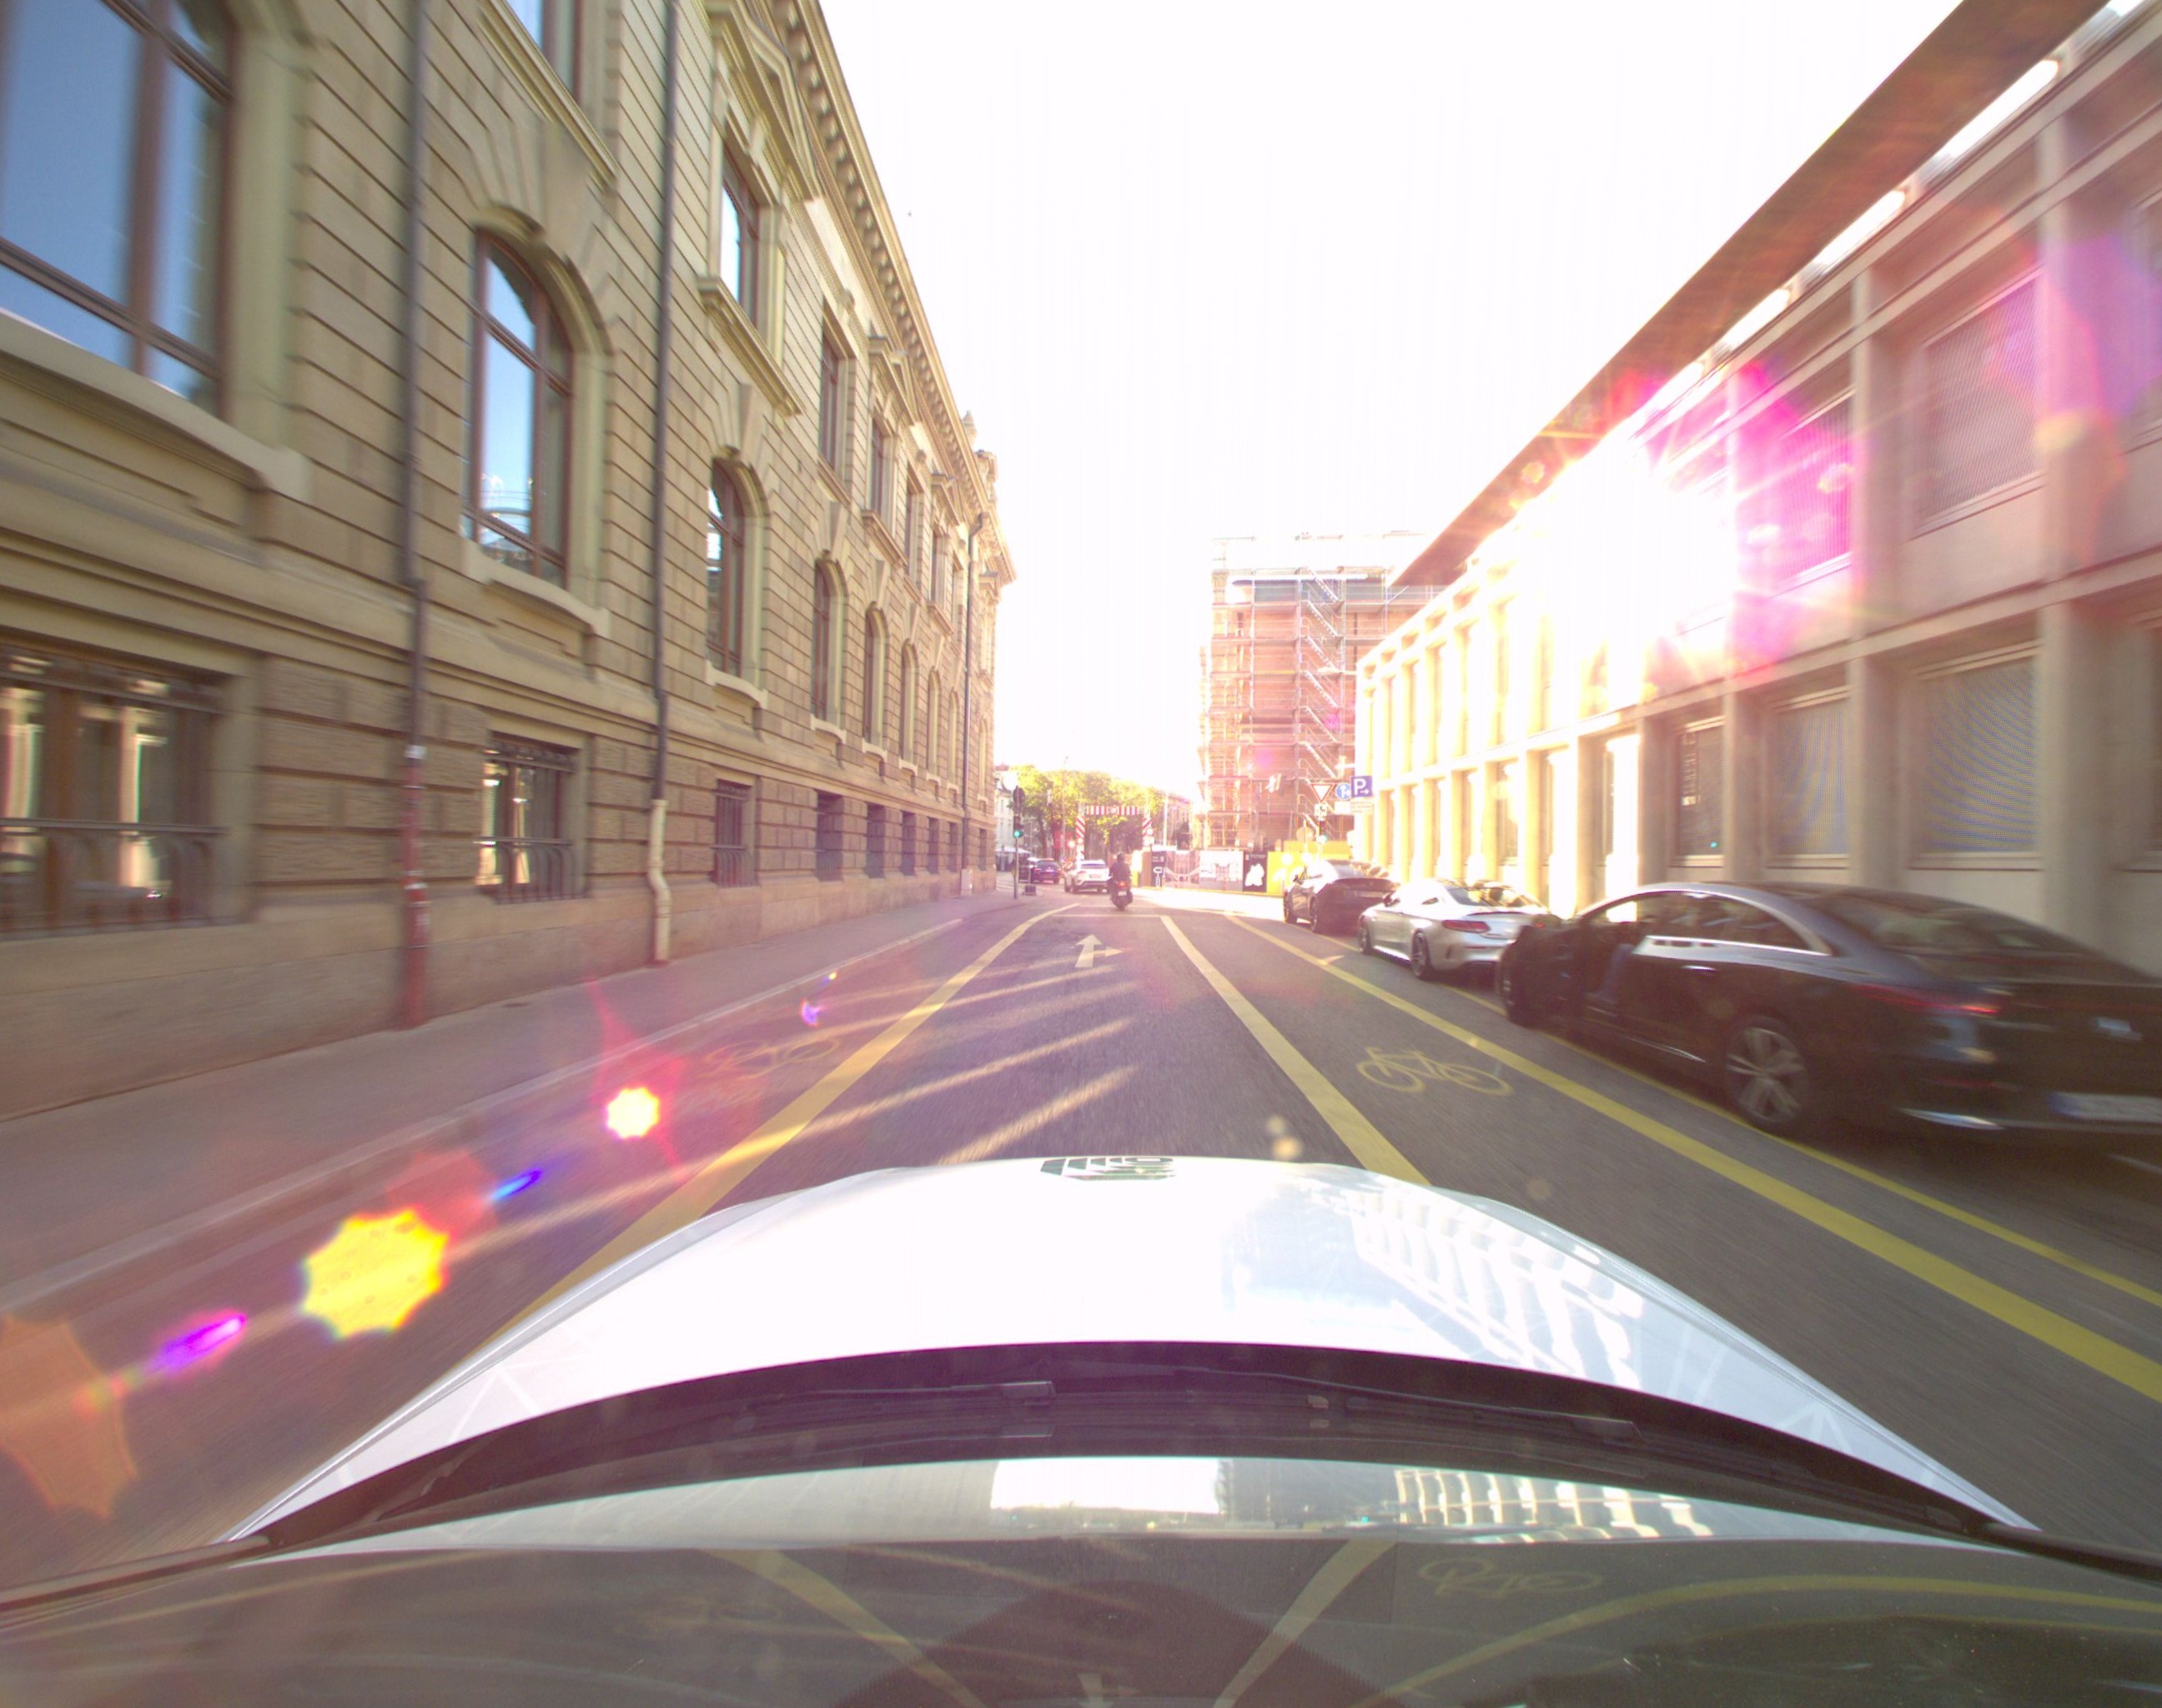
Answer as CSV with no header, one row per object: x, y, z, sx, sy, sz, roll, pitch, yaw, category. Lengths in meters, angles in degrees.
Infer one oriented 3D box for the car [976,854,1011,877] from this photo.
-7.109,0.935,65.952,1.998,1.664,4.334,-2,1,-17,car

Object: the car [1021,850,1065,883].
-2.277,0.755,48.143,1.833,1.838,3.980,0,-1,-14,car

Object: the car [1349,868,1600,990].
5.475,0.947,12.048,1.816,1.399,4.484,2,-1,4,car

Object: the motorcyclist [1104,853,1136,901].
1.164,0.690,24.314,0.867,1.427,0.454,0,-1,-10,motorcyclist

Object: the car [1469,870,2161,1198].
4.970,0.909,6.215,1.818,1.501,4.737,2,-1,1,car

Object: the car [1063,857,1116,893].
0.316,0.939,37.740,1.821,1.542,4.251,1,-1,-8,car

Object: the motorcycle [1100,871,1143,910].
1.183,1.069,24.133,0.872,1.109,1.833,0,-1,-10,motorcycle

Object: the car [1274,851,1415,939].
5.901,0.834,18.892,1.818,1.699,4.668,2,1,1,car
